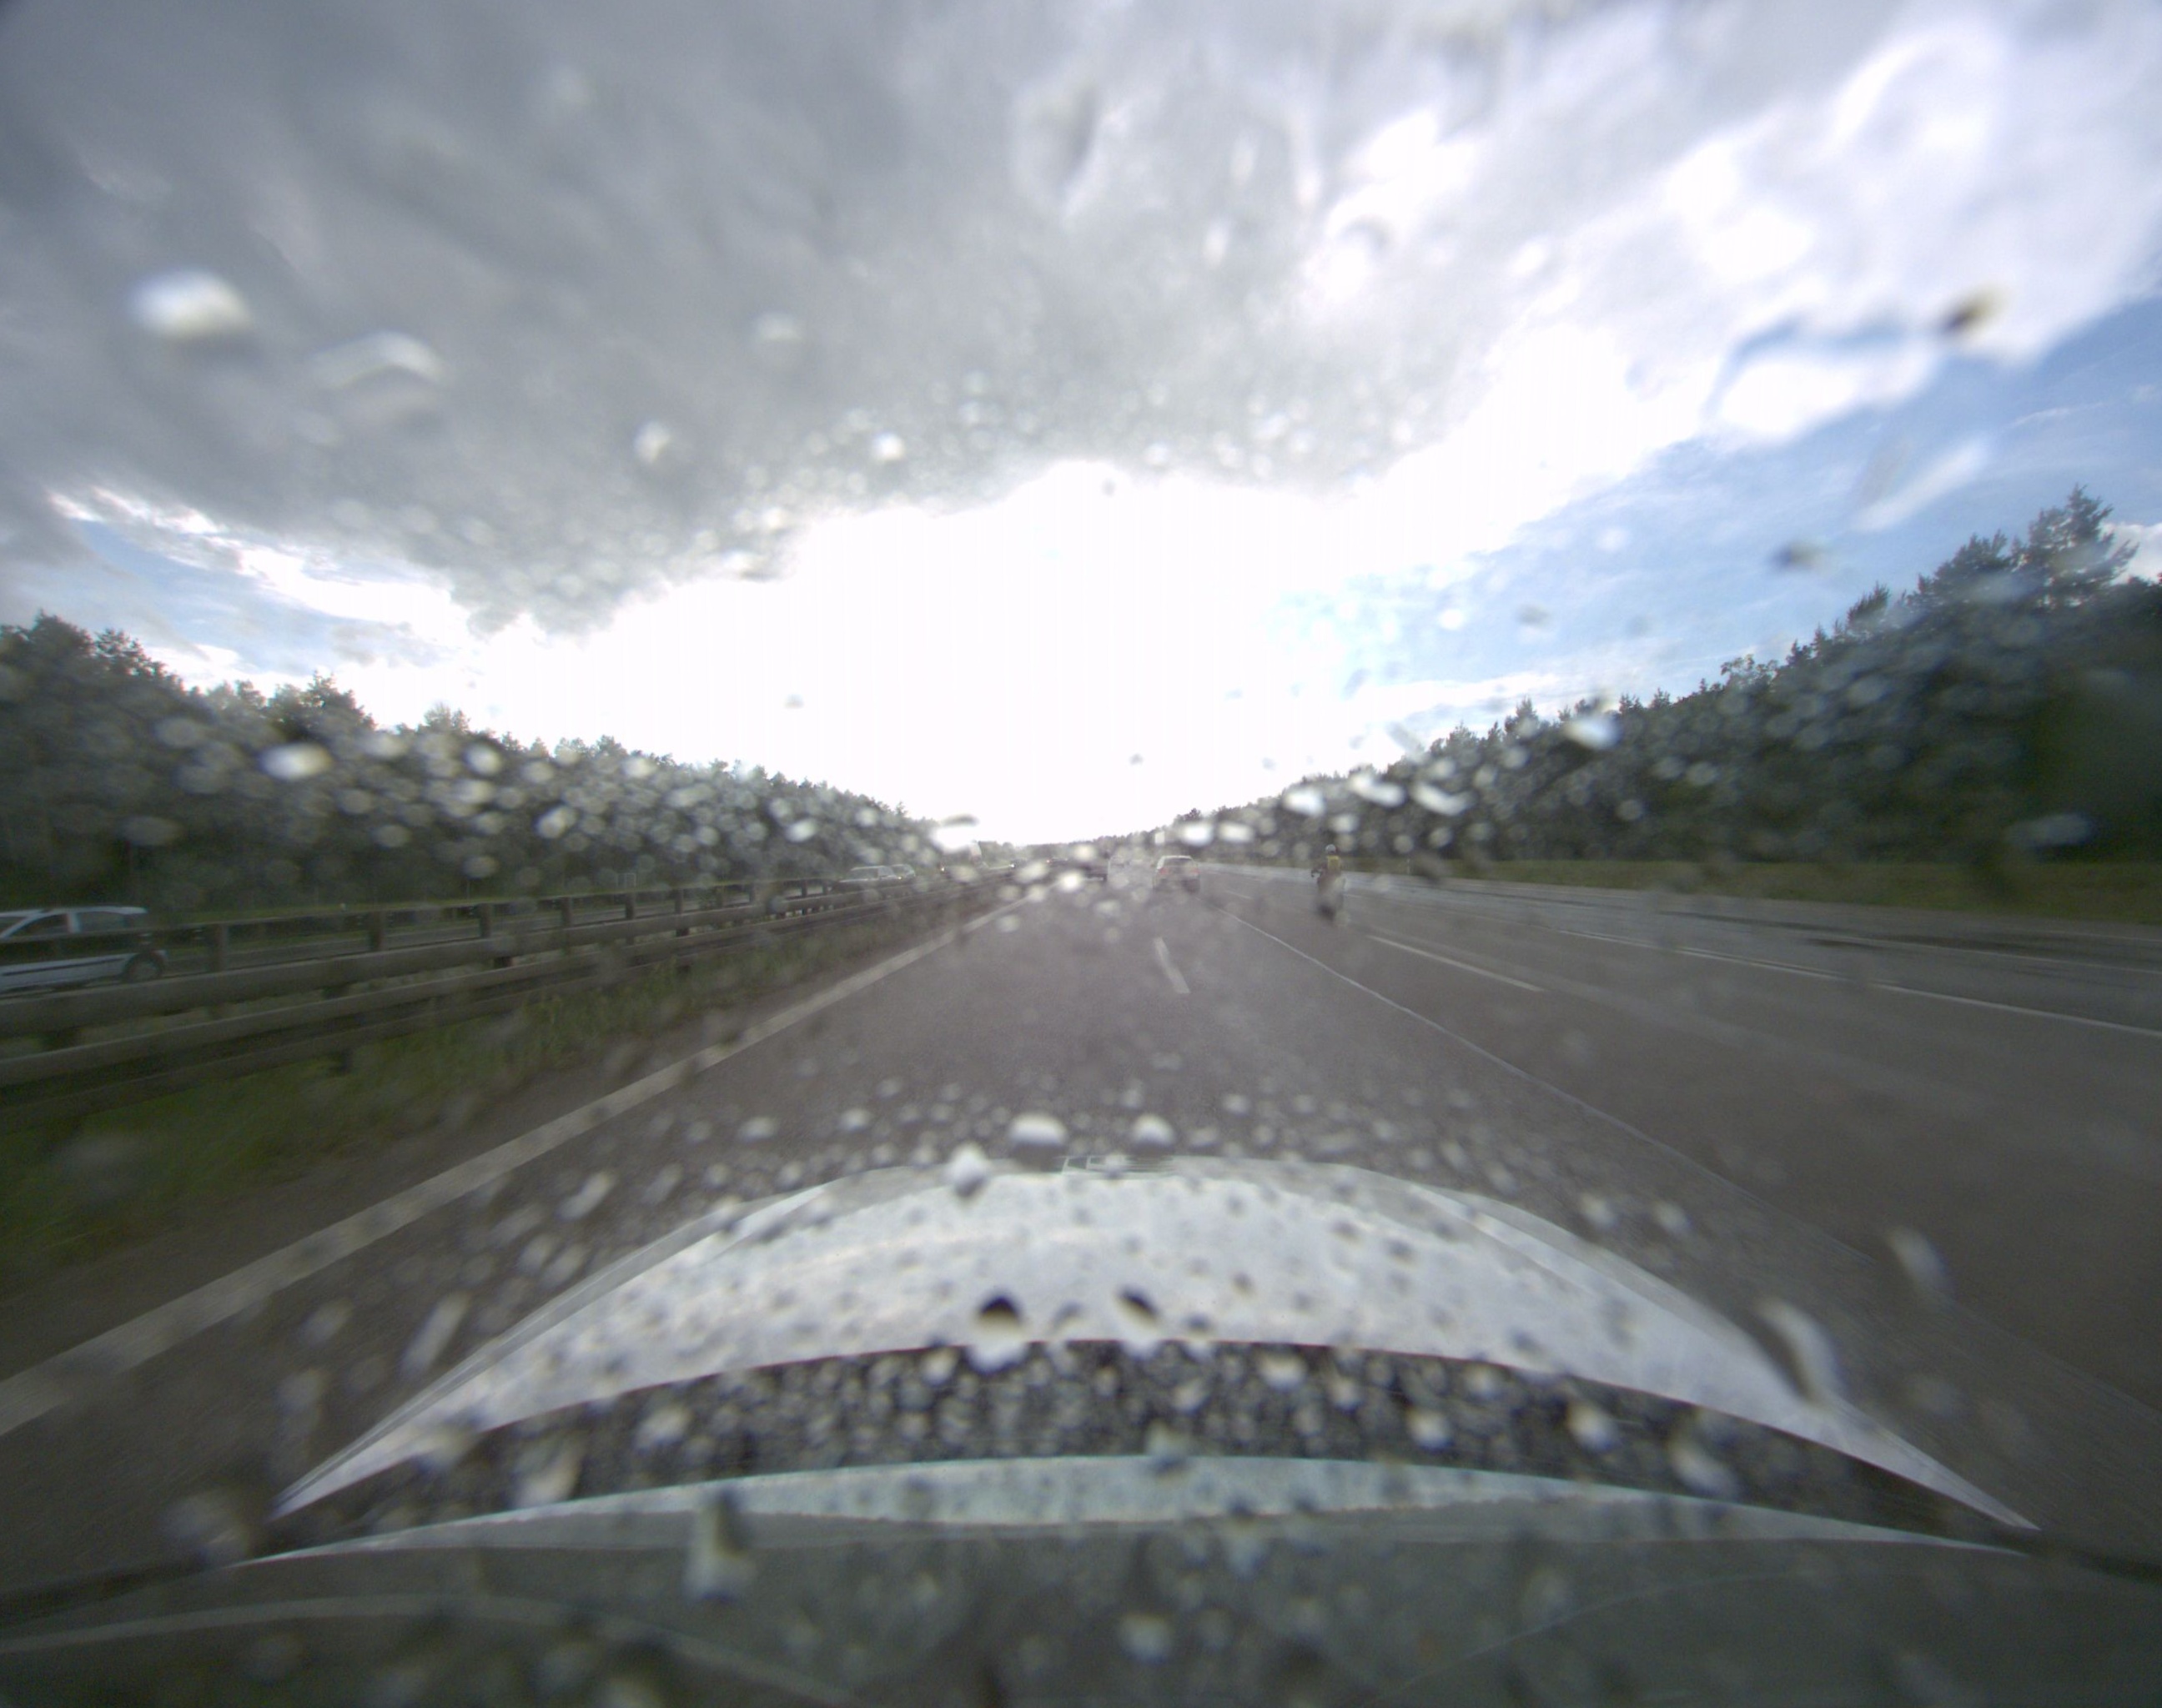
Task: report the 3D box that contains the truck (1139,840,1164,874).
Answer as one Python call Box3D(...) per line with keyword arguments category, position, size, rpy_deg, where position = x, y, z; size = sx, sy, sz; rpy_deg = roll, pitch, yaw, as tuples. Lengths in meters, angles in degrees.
Box3D(category="truck", position=(8.430, 0.368, 97.682), size=(2.288, 3.868, 5.388), rpy_deg=(-1, 0, -2))

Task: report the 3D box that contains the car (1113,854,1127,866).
Box3D(category="car", position=(4.999, 0.778, 104.802), size=(1.823, 1.466, 4.003), rpy_deg=(-1, 0, 2))

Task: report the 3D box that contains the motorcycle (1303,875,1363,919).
Box3D(category="motorcycle", position=(6.673, 1.118, 21.660), size=(0.996, 1.031, 2.175), rpy_deg=(-1, 0, 2))

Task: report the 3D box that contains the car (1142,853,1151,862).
Box3D(category="car", position=(15.309, 0.779, 190.577), size=(1.986, 2.014, 4.001), rpy_deg=(0, 0, 1))

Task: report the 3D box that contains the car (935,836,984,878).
Box3D(category="car", position=(-8.195, 0.193, 55.681), size=(2.125, 2.662, 6.676), rpy_deg=(-2, 0, 1))

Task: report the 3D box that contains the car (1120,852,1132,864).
Box3D(category="car", position=(7.563, 0.664, 138.087), size=(1.901, 2.013, 4.001), rpy_deg=(-1, 0, 1))

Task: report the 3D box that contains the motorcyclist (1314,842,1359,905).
Box3D(category="motorcyclist", position=(6.720, 0.504, 21.492), size=(0.888, 1.614, 0.959), rpy_deg=(-1, 0, 2))

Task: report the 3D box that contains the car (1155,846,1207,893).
Box3D(category="car", position=(4.294, 0.637, 35.597), size=(2.068, 1.885, 5.018), rpy_deg=(0, 0, 5))

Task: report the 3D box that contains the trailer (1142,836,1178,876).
Box3D(category="trailer", position=(8.644, 0.257, 90.724), size=(2.317, 4.001, 13.402), rpy_deg=(-1, 0, -2))

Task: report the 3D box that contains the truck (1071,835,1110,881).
Box3D(category="truck", position=(0.577, 0.219, 47.823), size=(2.130, 2.489, 5.313), rpy_deg=(-1, 0, 1))

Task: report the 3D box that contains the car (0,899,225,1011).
Box3D(category="car", position=(-17.837, 1.707, 14.007), size=(1.717, 1.596, 4.157), rpy_deg=(-2, 0, 2))
